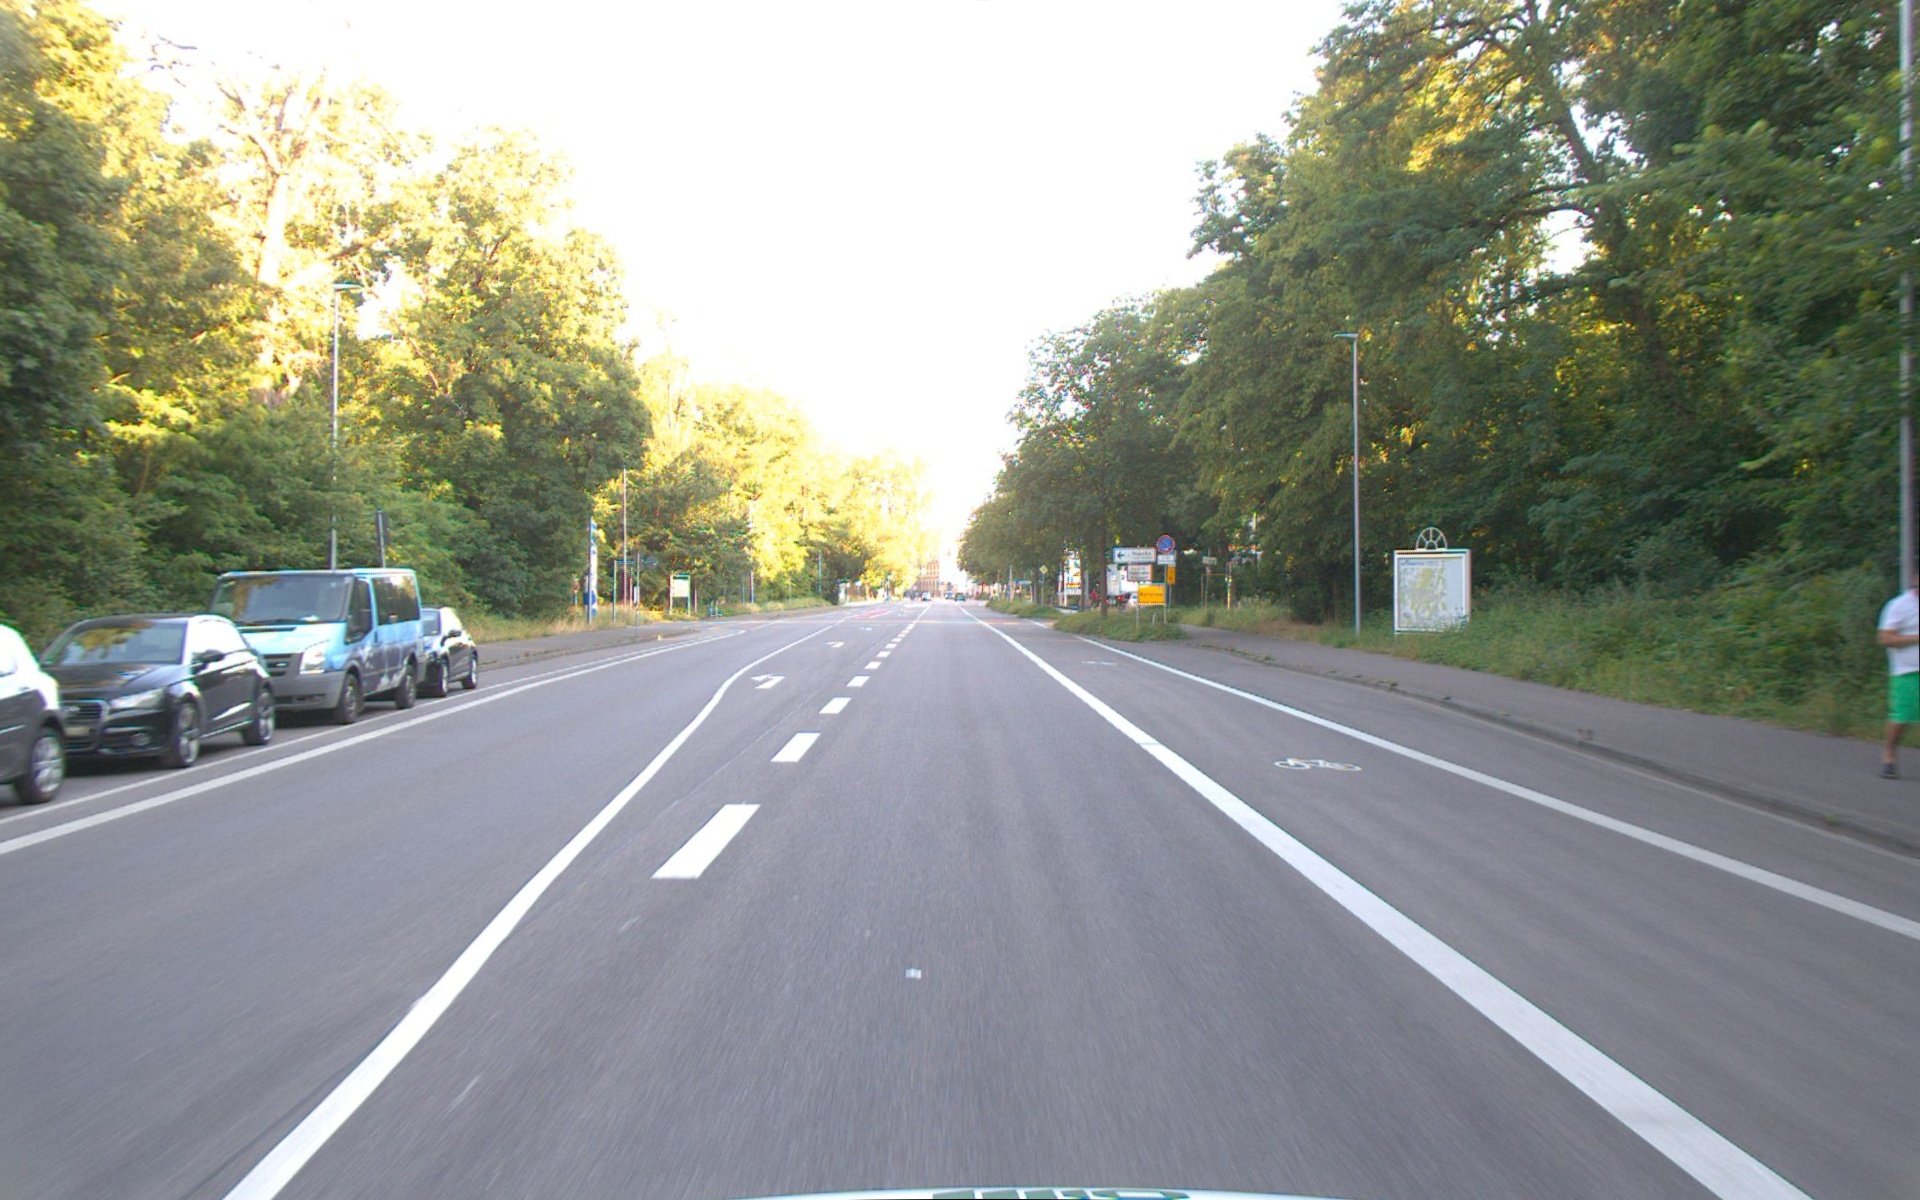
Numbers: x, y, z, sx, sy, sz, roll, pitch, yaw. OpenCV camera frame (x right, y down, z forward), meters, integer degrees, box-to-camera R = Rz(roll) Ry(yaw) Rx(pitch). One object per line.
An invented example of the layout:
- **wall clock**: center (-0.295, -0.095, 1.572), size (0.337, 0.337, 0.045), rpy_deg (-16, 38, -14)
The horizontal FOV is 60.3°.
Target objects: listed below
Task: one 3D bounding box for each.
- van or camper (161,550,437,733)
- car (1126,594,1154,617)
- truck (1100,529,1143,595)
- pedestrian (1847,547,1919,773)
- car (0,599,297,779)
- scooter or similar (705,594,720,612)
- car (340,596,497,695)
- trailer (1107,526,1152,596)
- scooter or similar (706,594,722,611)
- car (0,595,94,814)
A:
- **van or camper**: center (-8.743, 0.479, 22.406), size (1.992, 2.130, 5.010), rpy_deg (-2, 0, -4)
- **car**: center (13.478, 0.395, 123.994), size (1.733, 1.611, 4.821), rpy_deg (1, 0, 3)
- **truck**: center (13.941, -3.233, 143.230), size (2.971, 5.551, 8.410), rpy_deg (0, 1, 0)
- **pedestrian**: center (7.800, 0.474, 13.424), size (0.821, 1.782, 0.726), rpy_deg (0, 0, 0)
- **car**: center (-8.012, 0.782, 16.558), size (1.513, 1.519, 3.966), rpy_deg (-2, 0, -7)
- **scooter or similar**: center (-15.220, 0.176, 101.682), size (0.355, 1.129, 0.874), rpy_deg (0, 0, 41)
- **car**: center (-9.184, 0.714, 28.361), size (1.654, 1.487, 4.238), rpy_deg (-2, 0, -6)
- **trailer**: center (13.920, -3.167, 136.367), size (2.958, 5.557, 7.934), rpy_deg (0, 0, 0)
- **scooter or similar**: center (-15.632, 0.151, 105.027), size (0.886, 1.087, 0.492), rpy_deg (0, 0, -26)
- **car**: center (-7.638, 0.779, 11.317), size (1.585, 1.561, 4.035), rpy_deg (-2, 0, -6)
